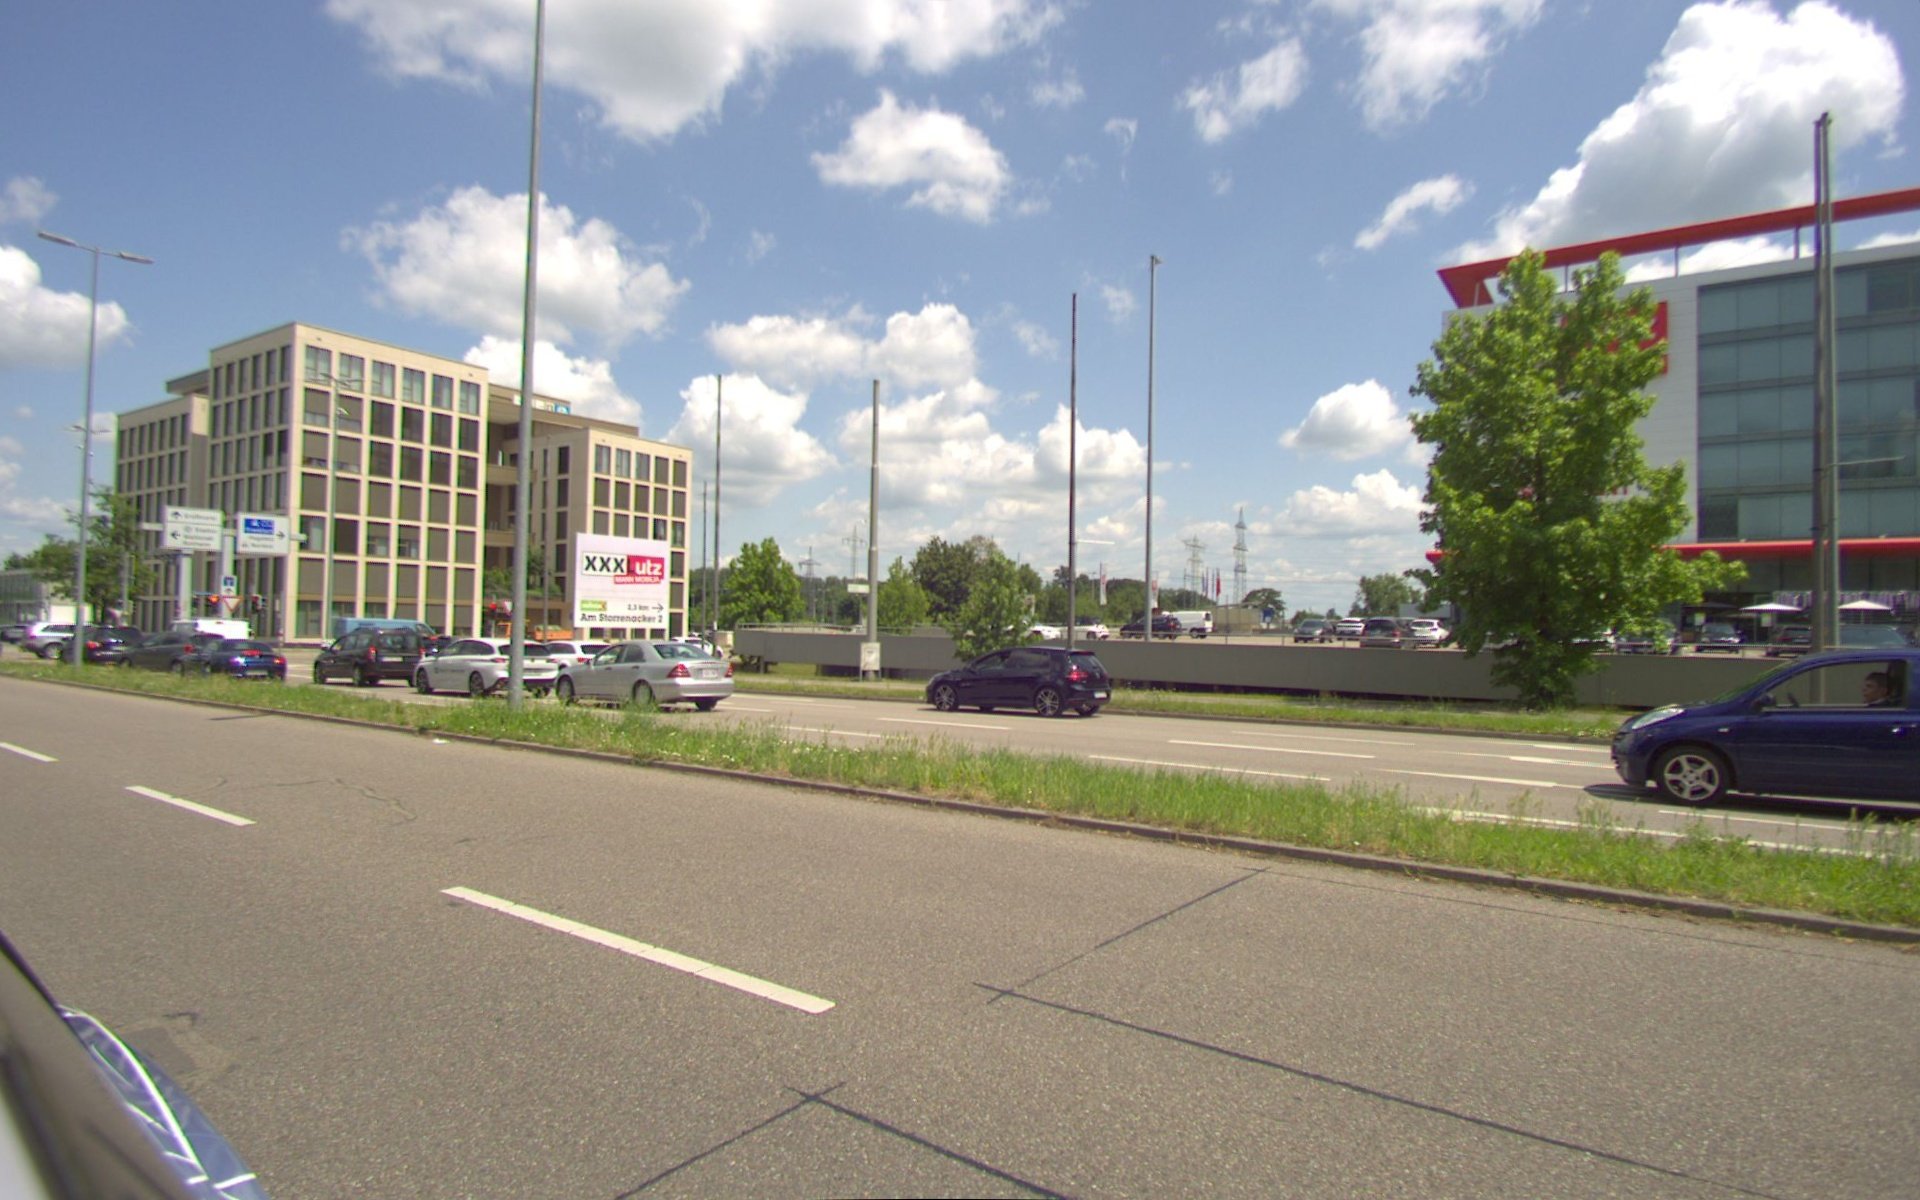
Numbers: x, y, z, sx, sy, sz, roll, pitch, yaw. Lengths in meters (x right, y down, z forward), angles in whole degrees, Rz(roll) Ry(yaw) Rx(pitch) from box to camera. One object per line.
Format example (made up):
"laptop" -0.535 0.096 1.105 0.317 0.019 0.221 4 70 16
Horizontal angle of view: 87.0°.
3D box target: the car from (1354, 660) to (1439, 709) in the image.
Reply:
"car" 15.532 2.956 35.880 1.847 1.608 3.949 -2 -4 37

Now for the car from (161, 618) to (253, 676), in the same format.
"car" -28.098 1.763 37.738 3.572 2.059 1.839 -2 -4 39

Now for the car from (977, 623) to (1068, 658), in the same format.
"car" 3.377 2.225 55.043 4.662 1.847 1.834 -2 -4 35

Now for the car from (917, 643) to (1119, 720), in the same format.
"car" 1.189 1.682 21.589 4.108 1.481 1.605 -2 -4 36

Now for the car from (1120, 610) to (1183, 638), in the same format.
"car" 13.106 1.690 69.353 3.826 1.847 1.833 -2 -4 36

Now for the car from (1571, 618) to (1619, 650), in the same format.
"car" 31.094 1.709 49.543 1.678 1.481 3.785 -2 -4 37

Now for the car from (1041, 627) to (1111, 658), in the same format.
"car" 7.060 2.598 61.542 3.821 1.847 1.835 -1 -4 32

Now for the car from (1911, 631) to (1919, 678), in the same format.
"car" 41.031 2.261 41.668 1.995 2.004 4.312 -1 -3 34

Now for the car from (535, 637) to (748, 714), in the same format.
"car" -6.639 1.522 20.878 4.666 1.429 1.775 -2 -5 37

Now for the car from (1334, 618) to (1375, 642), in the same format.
"car" 27.608 2.096 70.763 1.852 1.556 3.787 -2 -4 35

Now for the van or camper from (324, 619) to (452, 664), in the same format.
"van or camper" -31.533 2.335 55.993 1.999 2.399 5.769 -2 -4 41

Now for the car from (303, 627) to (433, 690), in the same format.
"car" -17.293 1.685 29.490 4.220 1.714 1.775 -2 -4 37

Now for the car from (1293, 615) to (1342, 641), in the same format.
"car" 21.886 1.767 61.922 1.590 1.481 3.781 -2 -4 40

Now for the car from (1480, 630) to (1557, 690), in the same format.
"car" 23.158 2.465 41.908 1.998 2.347 4.304 -2 -3 40

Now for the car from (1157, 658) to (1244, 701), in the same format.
"car" 9.614 3.131 40.296 1.916 1.608 3.949 -2 -4 38

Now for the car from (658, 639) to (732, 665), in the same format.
"car" -18.543 3.673 70.995 1.860 1.741 4.964 -1 -3 37

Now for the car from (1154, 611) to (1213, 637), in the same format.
"car" 16.187 1.759 73.272 3.823 1.847 1.834 -2 -4 34

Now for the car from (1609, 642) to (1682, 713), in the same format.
"car" 24.339 2.681 35.967 1.995 2.347 4.312 -1 -3 34

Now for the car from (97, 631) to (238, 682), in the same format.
"car" -25.593 1.831 32.707 3.739 1.572 1.786 -1 -3 18

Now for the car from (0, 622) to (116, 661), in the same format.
"car" -42.751 1.915 47.327 1.858 1.741 4.701 0 -2 33

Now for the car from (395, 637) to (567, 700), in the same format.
"car" -11.867 1.669 24.967 4.837 1.413 1.775 -2 -5 37

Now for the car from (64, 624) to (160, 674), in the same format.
"car" -29.850 1.721 35.588 4.165 1.657 1.774 -2 -4 39

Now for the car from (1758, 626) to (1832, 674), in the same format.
"car" 36.943 2.207 44.872 1.994 2.004 4.313 -1 -3 33

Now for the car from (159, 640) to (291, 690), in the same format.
"car" -20.364 1.777 27.990 4.300 1.261 1.775 -2 -4 37

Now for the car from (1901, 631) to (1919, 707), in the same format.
"car" 30.765 2.135 31.092 1.995 2.347 4.312 -1 -3 34

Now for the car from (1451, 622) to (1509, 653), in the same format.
"car" 26.935 1.965 52.378 1.854 1.481 3.782 -2 -4 40

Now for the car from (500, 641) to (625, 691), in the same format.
"car" -12.606 2.077 32.002 4.350 1.484 1.604 -2 -4 36

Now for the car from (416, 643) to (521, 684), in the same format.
"car" -17.724 2.274 36.399 4.578 1.402 1.603 -2 -4 39

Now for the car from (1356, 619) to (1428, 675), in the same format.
"car" 19.392 2.105 45.299 1.997 2.347 4.308 -1 -3 37

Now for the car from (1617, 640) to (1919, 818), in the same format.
"car" 8.317 1.131 9.349 3.669 1.486 1.723 -2 -4 36

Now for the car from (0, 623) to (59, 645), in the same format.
"car" -76.355 2.790 83.119 1.831 1.741 4.194 2 -3 -17

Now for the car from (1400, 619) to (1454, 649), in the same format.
"car" 25.041 1.849 54.173 1.853 1.481 3.785 -2 -4 37

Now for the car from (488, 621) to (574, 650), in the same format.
"car" -37.801 3.209 89.341 2.851 2.347 6.447 -4 -5 40

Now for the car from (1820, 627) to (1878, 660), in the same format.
"car" 41.369 2.042 47.149 1.678 1.481 3.785 -2 -4 37

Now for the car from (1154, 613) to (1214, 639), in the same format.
"car" 16.155 1.902 73.088 3.826 1.847 1.833 -2 -4 36

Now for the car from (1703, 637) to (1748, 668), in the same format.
"car" 37.915 2.597 50.186 1.678 1.481 3.785 -2 -4 37

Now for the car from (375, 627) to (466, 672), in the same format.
"car" -21.733 1.992 40.728 3.864 1.714 1.775 -2 -4 37
